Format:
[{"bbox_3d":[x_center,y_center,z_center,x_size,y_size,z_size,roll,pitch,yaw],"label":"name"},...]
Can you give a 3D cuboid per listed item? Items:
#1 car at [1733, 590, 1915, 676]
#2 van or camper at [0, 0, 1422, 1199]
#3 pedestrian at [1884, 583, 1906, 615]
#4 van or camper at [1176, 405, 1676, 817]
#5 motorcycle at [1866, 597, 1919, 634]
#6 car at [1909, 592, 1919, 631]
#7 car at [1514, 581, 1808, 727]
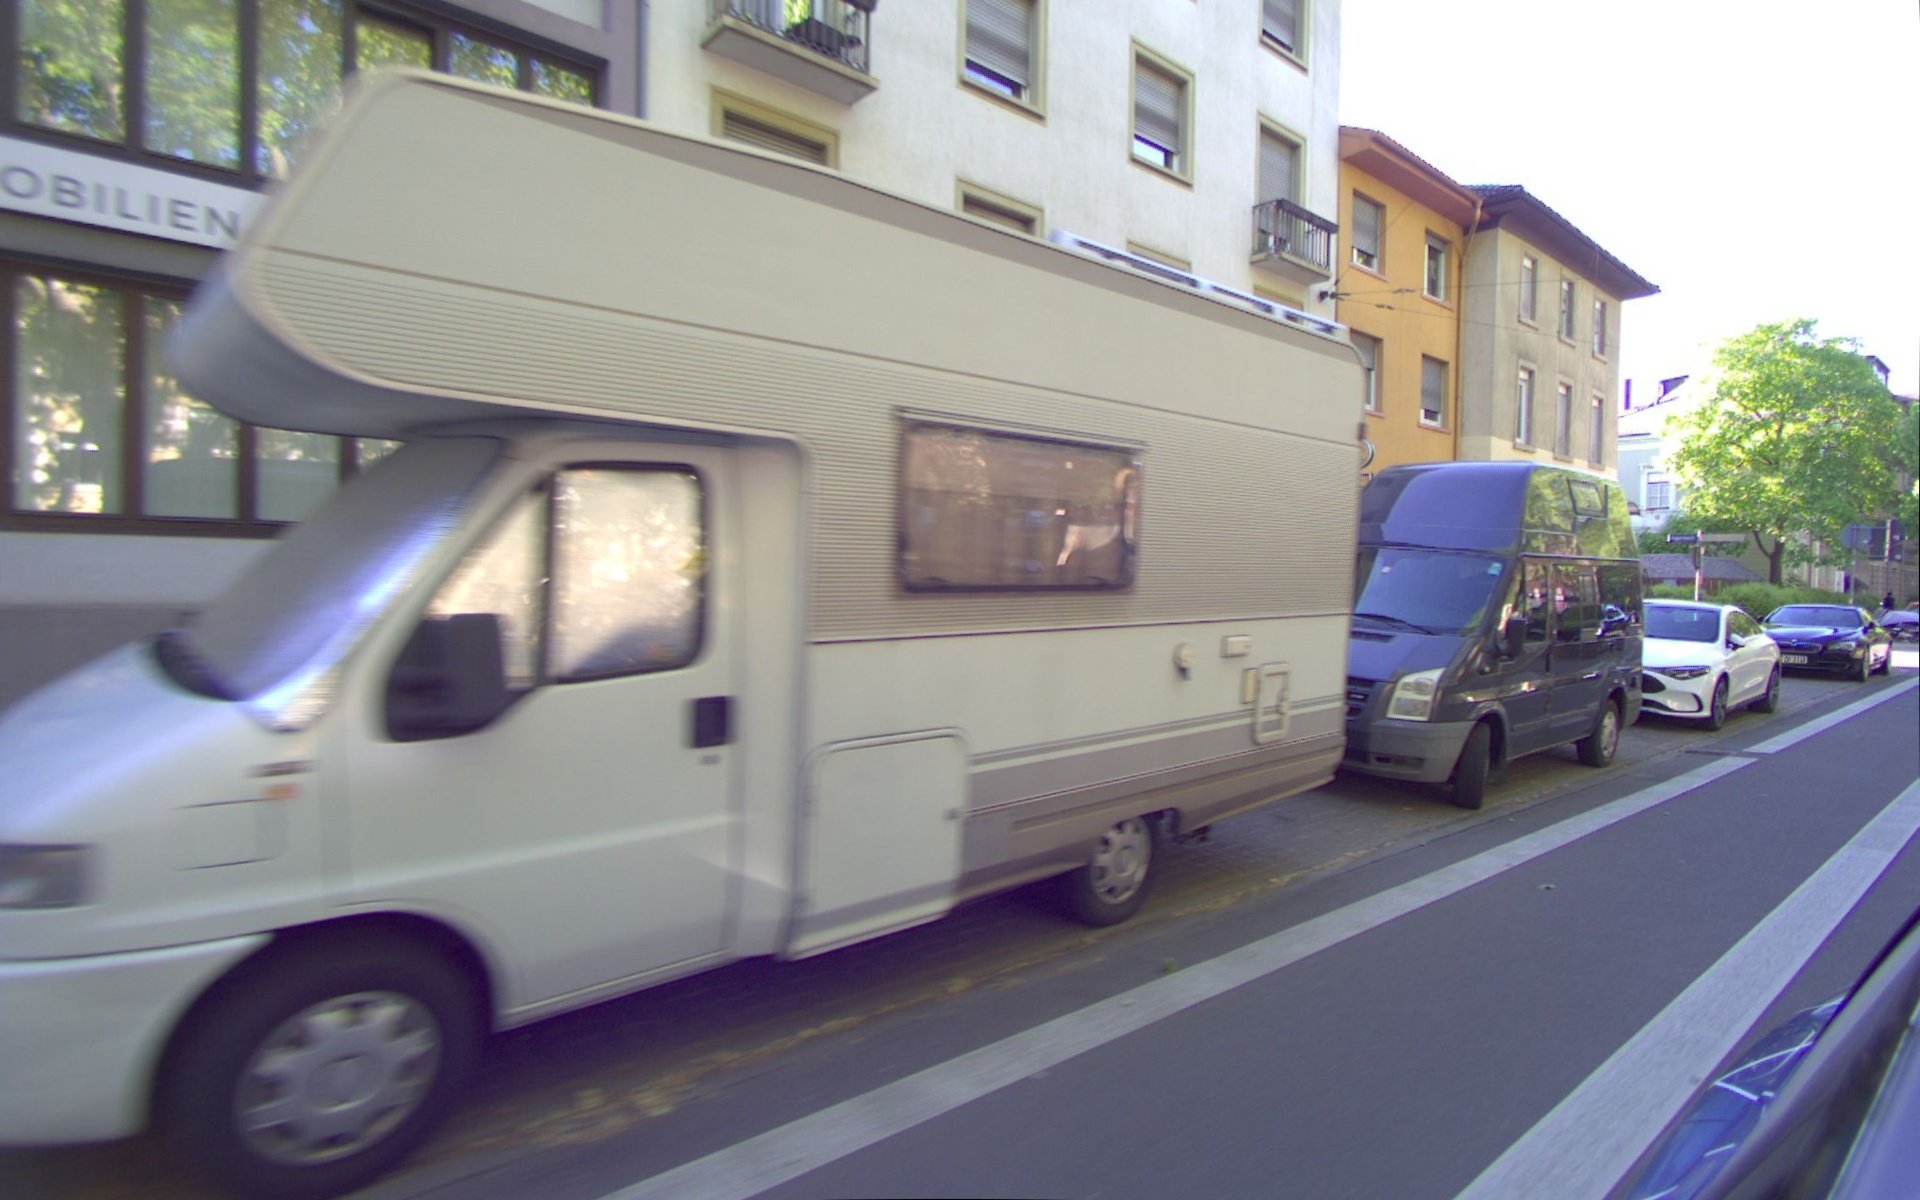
[{"bbox_3d":[17.064,0.557,19.910,4.657,1.397,1.998,0,3,-41],"label":"car"},{"bbox_3d":[-0.502,-0.184,4.709,6.160,3.101,2.467,0,3,-42],"label":"van or camper"},{"bbox_3d":[50.742,-0.059,54.924,0.869,1.699,0.813,0,0,-41],"label":"pedestrian"},{"bbox_3d":[4.349,0.001,9.036,4.892,2.695,2.137,0,3,-41],"label":"van or camper"},{"bbox_3d":[33.178,0.546,35.355,0.812,1.172,2.074,0,4,-36],"label":"motorcycle"},{"bbox_3d":[36.206,0.450,37.116,3.797,1.397,1.607,0,3,-41],"label":"car"},{"bbox_3d":[9.366,0.570,13.367,4.656,1.511,1.998,0,3,-40],"label":"car"}]
